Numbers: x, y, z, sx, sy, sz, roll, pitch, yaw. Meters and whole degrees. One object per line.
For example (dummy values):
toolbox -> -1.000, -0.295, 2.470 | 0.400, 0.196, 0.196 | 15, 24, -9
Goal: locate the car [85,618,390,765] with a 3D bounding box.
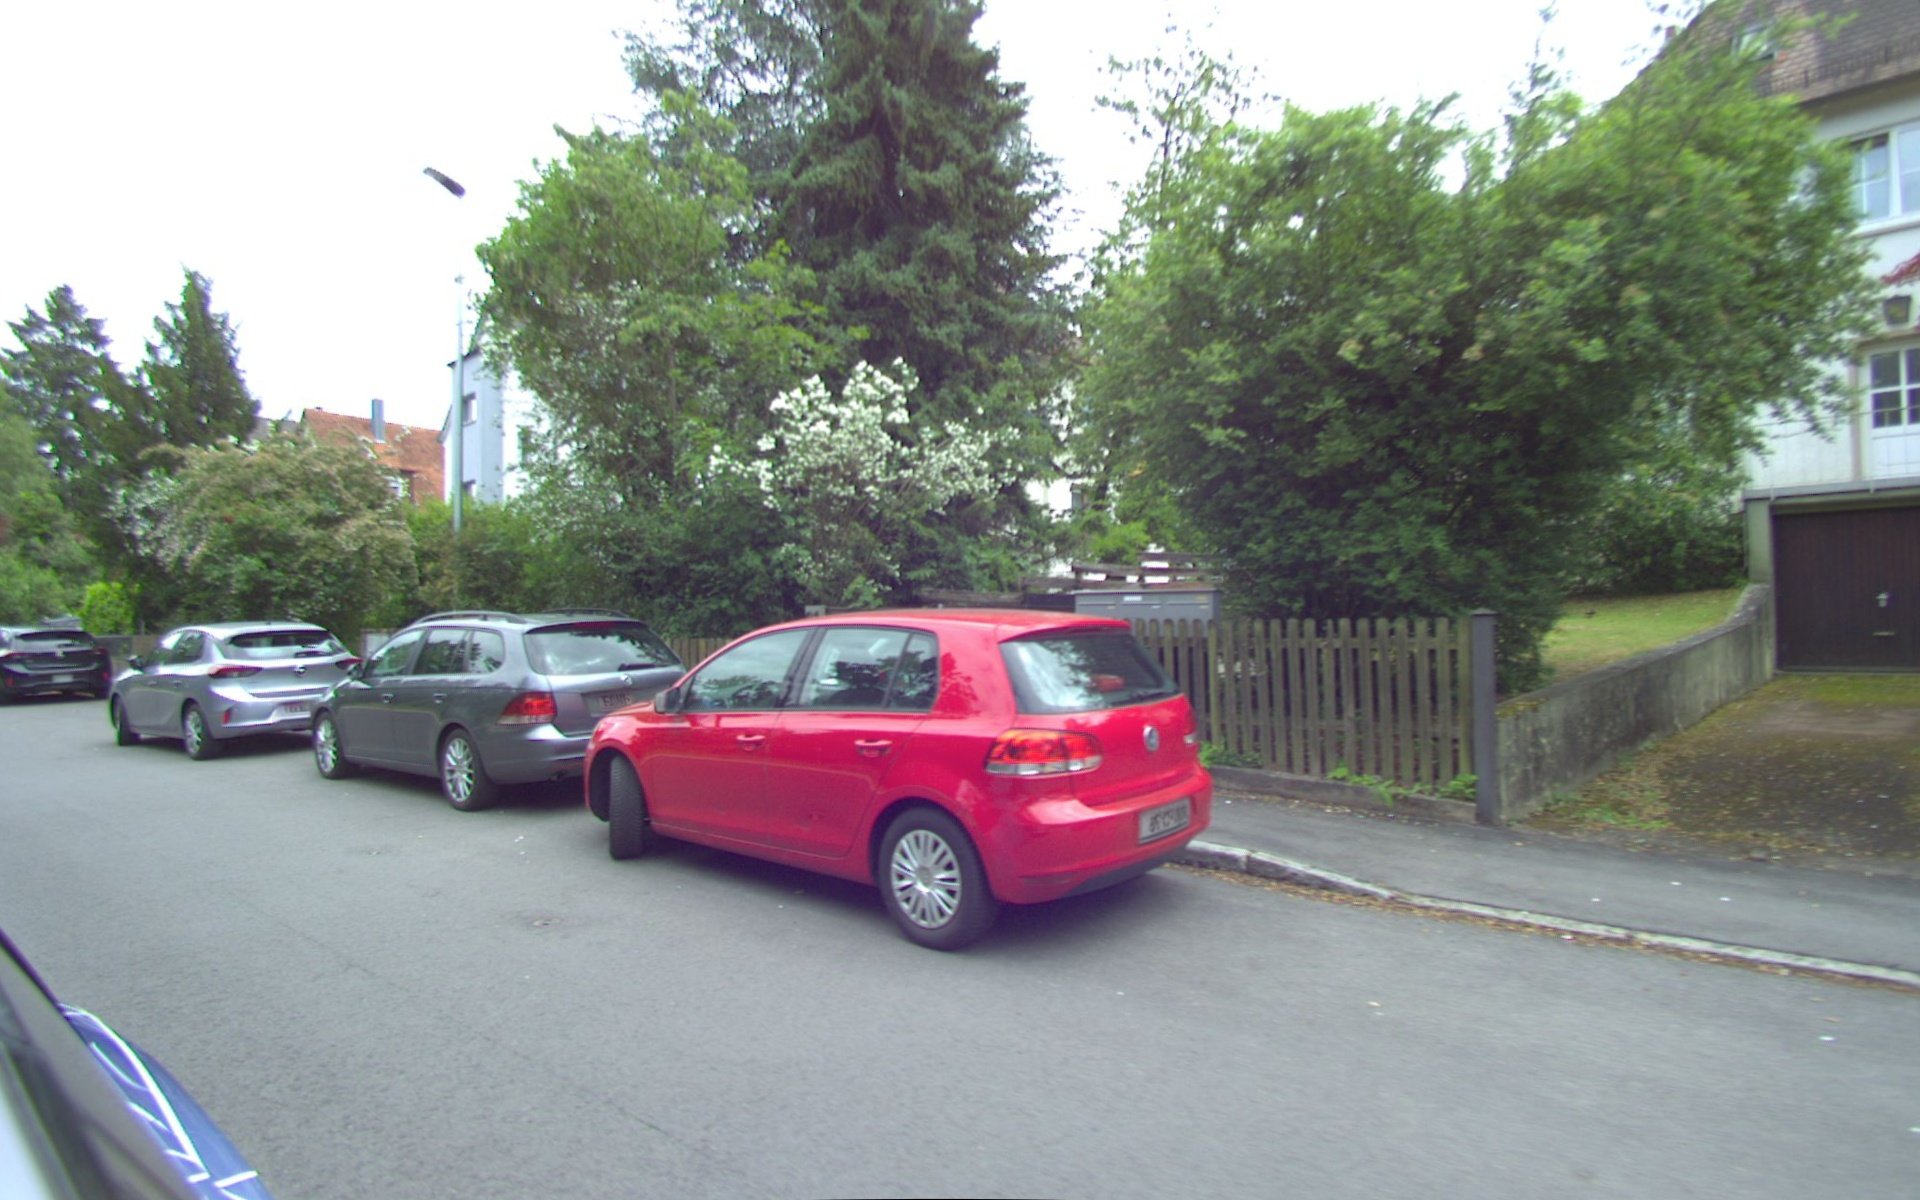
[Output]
car -> -8.594, 0.959, 11.923 | 4.152, 1.421, 1.692 | -2, 0, 36

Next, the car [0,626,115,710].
car -> -18.052, 1.248, 19.565 | 4.124, 1.427, 1.692 | -2, 0, 36

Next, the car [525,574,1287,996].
car -> -0.605, 0.706, 5.748 | 4.361, 1.526, 1.689 | -2, -1, 41

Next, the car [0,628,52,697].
car -> -21.721, 1.359, 22.315 | 4.141, 1.427, 1.692 | -2, 0, 36

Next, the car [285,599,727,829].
car -> -4.146, 0.813, 8.880 | 4.490, 1.526, 1.690 | -2, -1, 39

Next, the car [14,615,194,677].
car -> -25.226, 1.306, 29.988 | 3.937, 1.559, 1.845 | -2, 0, -40
